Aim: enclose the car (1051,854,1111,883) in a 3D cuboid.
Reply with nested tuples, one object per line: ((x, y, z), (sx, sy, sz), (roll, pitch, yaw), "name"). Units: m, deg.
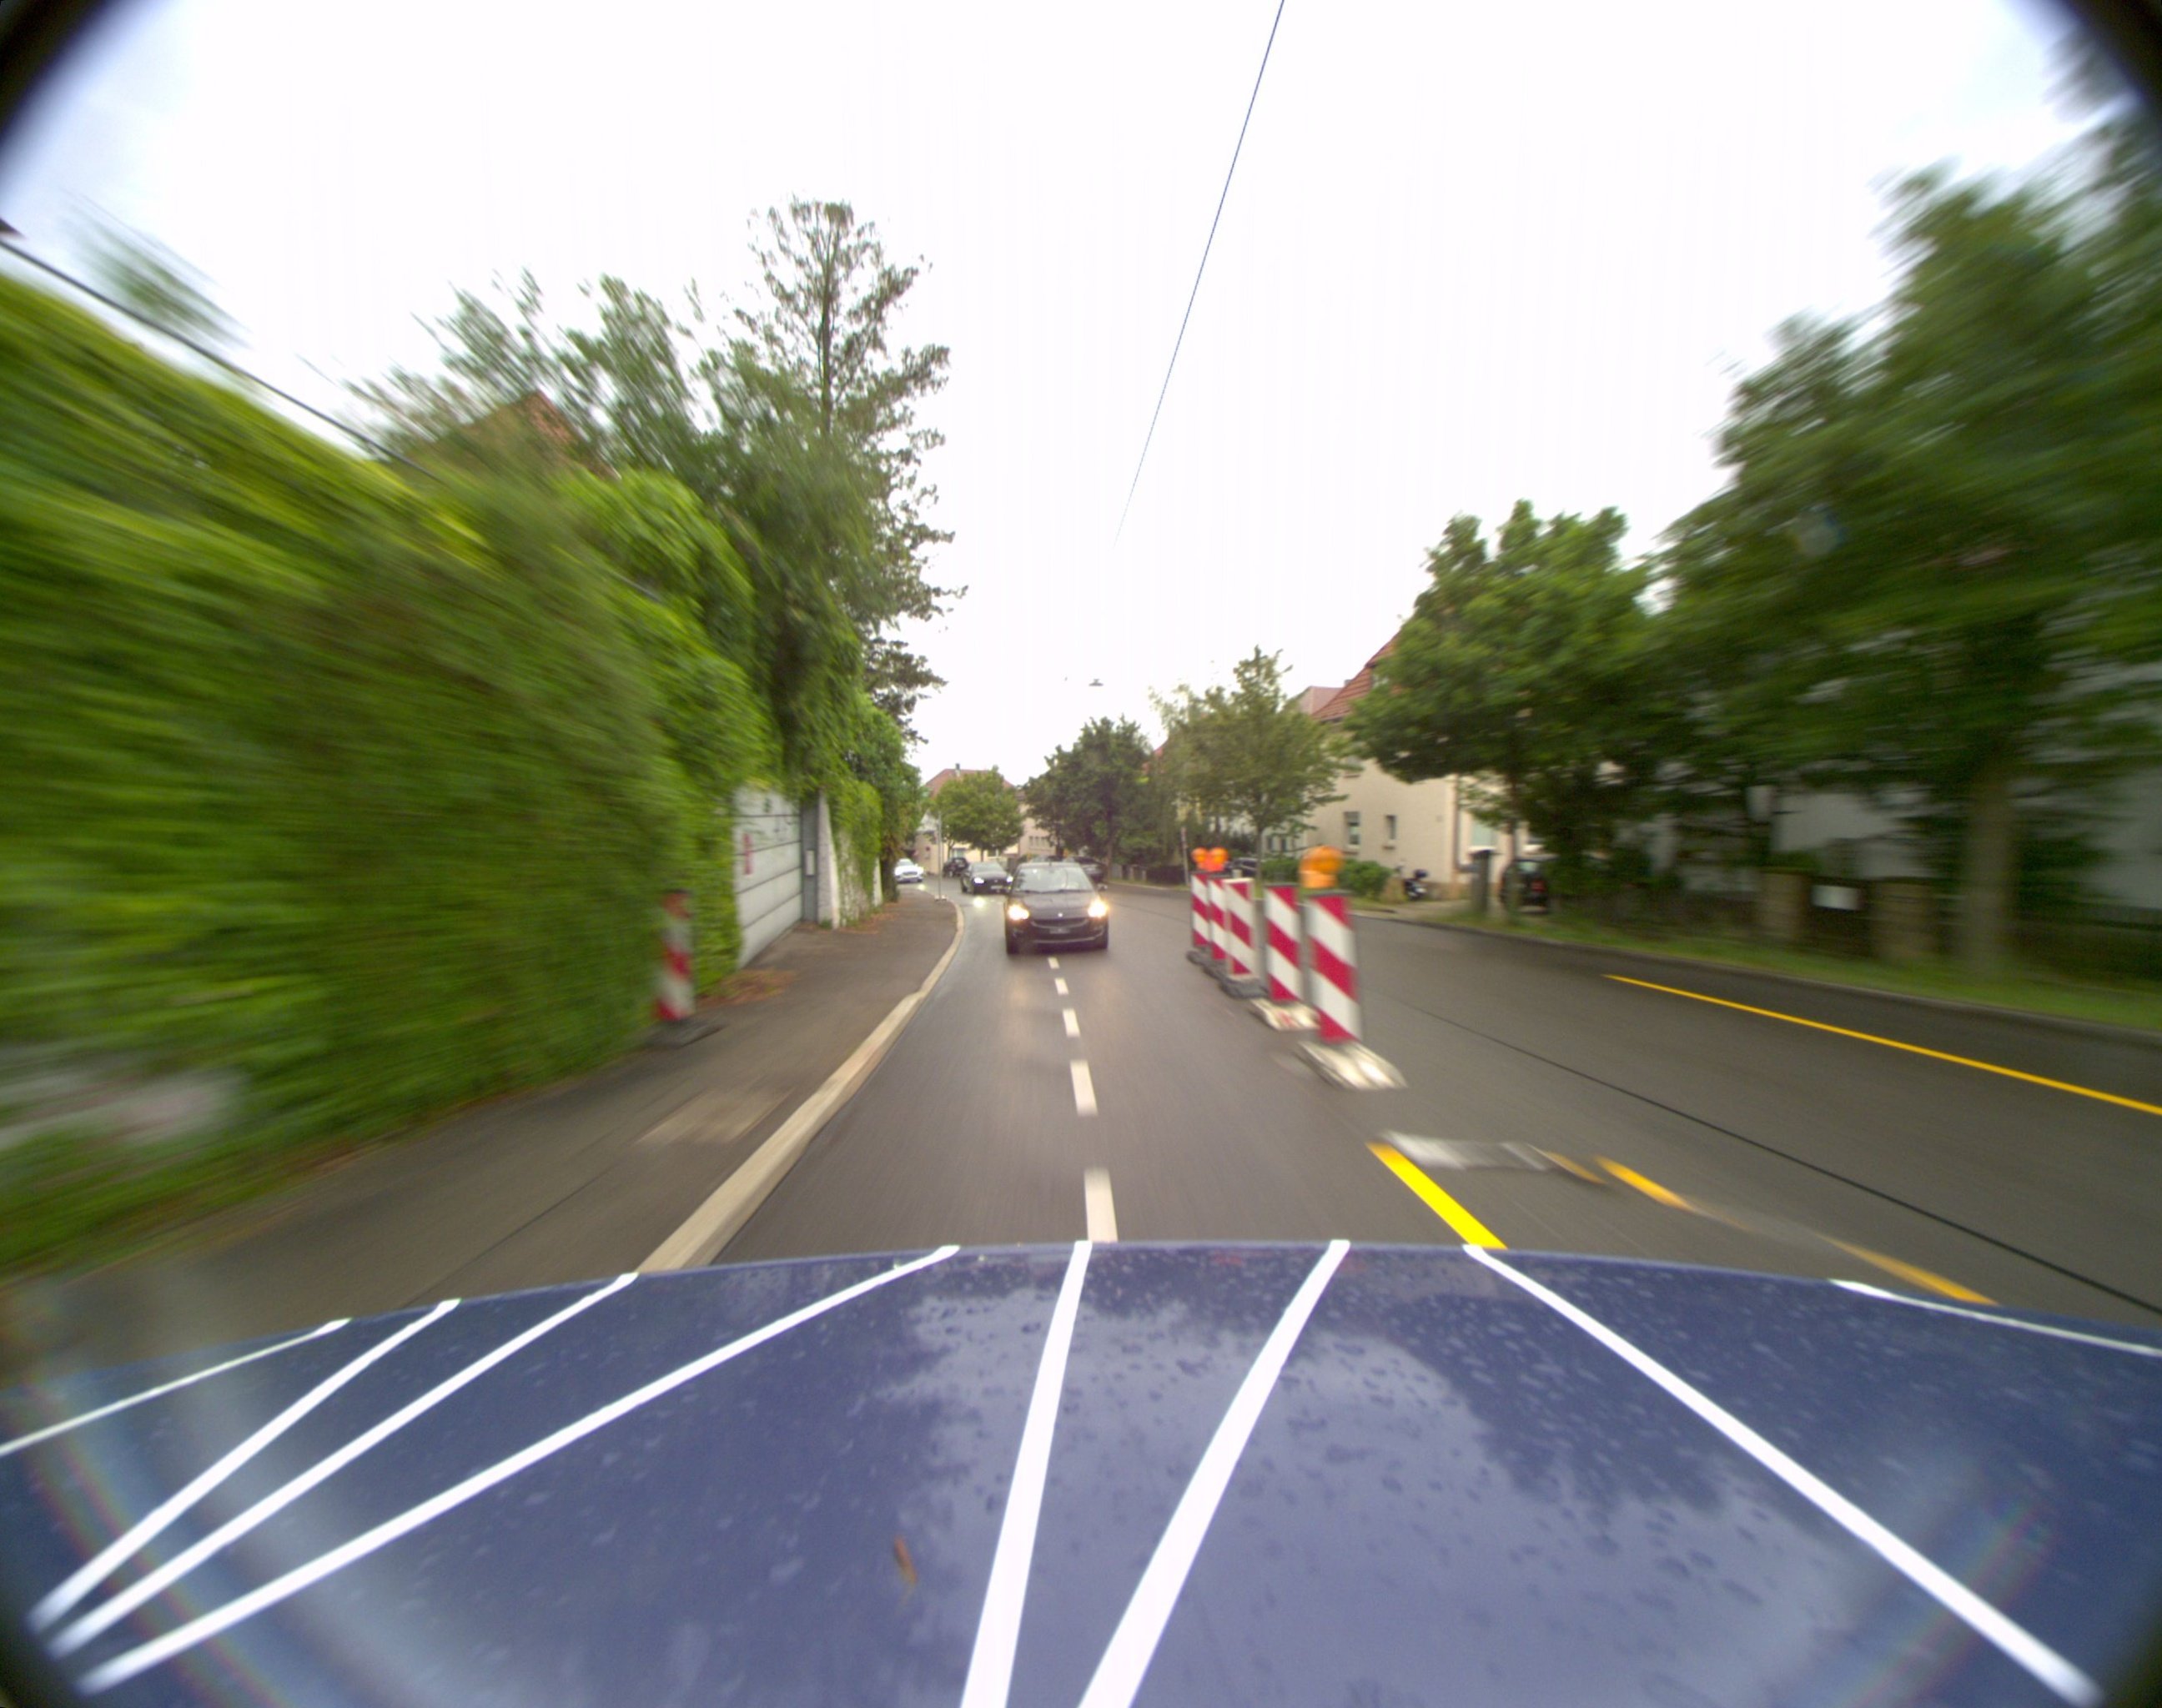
((-0.070, 0.718, 40.463), (1.713, 1.375, 4.522), (-3, 1, -19), "car")

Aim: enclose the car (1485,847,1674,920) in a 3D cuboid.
((13.196, 0.722, 20.227), (3.953, 1.534, 1.862), (-4, 1, -10), "car")

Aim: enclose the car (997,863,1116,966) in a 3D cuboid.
((-0.585, 0.937, 13.743), (1.747, 1.433, 4.357), (-2, 0, -6), "car")

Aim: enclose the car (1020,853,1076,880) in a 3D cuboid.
((-2.029, 0.705, 45.233), (1.740, 1.475, 4.520), (-3, 1, -24), "car")

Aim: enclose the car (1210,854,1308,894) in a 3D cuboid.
((8.858, 0.991, 37.949), (4.253, 1.496, 1.912), (6, 0, -9), "car")

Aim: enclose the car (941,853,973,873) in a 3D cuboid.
((-10.058, 0.735, 61.411), (1.525, 1.526, 3.029), (-1, 0, -31), "car")

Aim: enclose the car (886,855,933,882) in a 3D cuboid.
((-11.985, 0.960, 52.912), (2.022, 1.728, 4.589), (-3, 1, -27), "car")

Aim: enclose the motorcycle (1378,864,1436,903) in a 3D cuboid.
((10.962, 0.970, 25.624), (0.734, 1.241, 1.967), (-3, 0, -14), "motorcycle")
